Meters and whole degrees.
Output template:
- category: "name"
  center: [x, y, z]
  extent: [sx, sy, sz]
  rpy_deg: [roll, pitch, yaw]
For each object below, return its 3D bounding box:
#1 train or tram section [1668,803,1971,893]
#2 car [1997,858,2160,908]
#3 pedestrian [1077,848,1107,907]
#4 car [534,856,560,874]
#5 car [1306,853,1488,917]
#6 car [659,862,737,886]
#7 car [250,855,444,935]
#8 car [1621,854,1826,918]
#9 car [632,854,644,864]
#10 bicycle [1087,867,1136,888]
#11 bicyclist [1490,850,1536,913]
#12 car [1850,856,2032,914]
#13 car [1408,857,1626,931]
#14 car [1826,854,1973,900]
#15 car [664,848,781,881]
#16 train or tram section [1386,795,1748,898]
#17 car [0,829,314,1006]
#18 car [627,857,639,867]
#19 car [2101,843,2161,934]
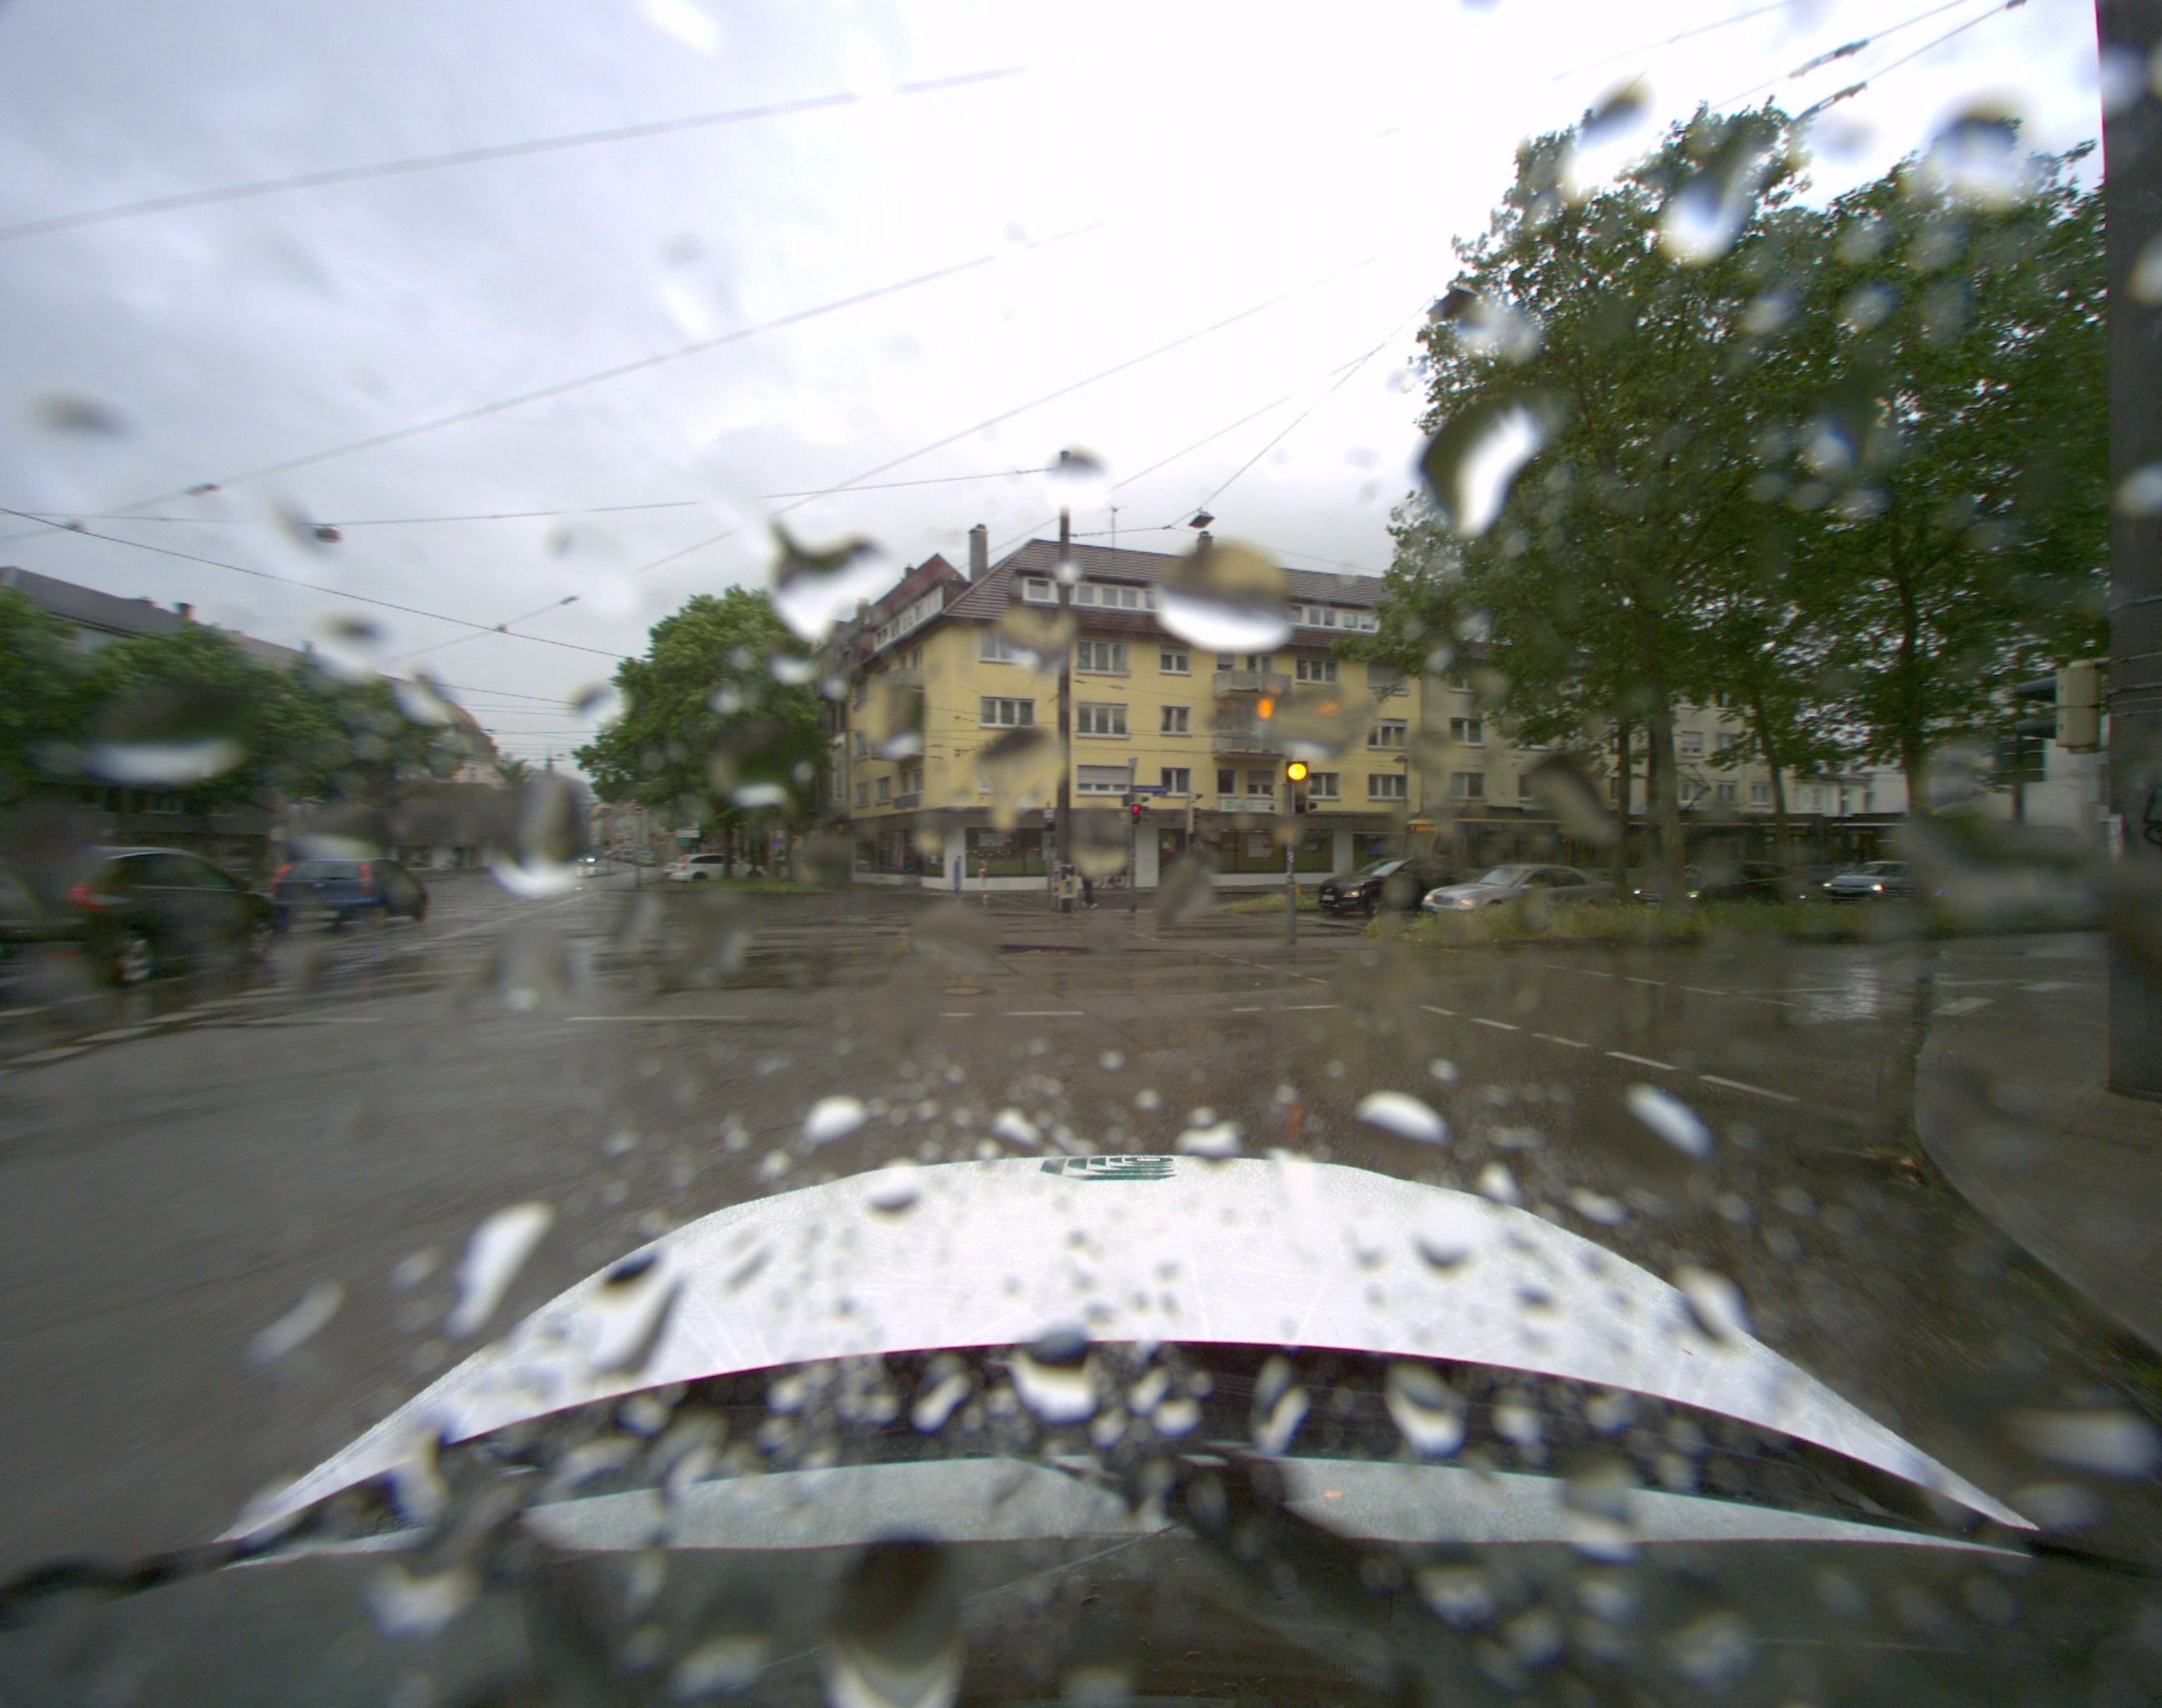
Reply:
- category: "train or tram section"
  center: [32.910, -0.232, 36.118]
  extent: [14.666, 3.558, 3.097]
  rpy_deg: [0, 0, -18]
- category: "car"
  center: [30.879, 0.856, 25.218]
  extent: [4.229, 1.397, 1.737]
  rpy_deg: [0, 0, -17]
- category: "pedestrian"
  center: [0.302, 0.676, 23.848]
  extent: [0.810, 1.677, 1.015]
  rpy_deg: [0, 0, -4]
- category: "car"
  center: [-53.838, 1.154, 82.172]
  extent: [2.006, 1.689, 3.960]
  rpy_deg: [2, -2, -31]
- category: "car"
  center: [8.203, 0.747, 21.161]
  extent: [4.286, 1.501, 1.866]
  rpy_deg: [0, 0, -21]
- category: "car"
  center: [-27.150, 1.403, 57.867]
  extent: [4.576, 1.556, 1.995]
  rpy_deg: [-1, 1, -8]
- category: "car"
  center: [-14.918, 0.845, 16.844]
  extent: [1.891, 1.459, 3.799]
  rpy_deg: [1, -3, -25]
- category: "car"
  center: [16.530, 0.764, 20.994]
  extent: [4.635, 1.485, 1.852]
  rpy_deg: [0, 0, -17]
- category: "car"
  center: [-62.261, 0.749, 114.397]
  extent: [1.484, 1.363, 3.429]
  rpy_deg: [2, -2, -29]
- category: "bicycle"
  center: [1.314, 1.004, 35.500]
  extent: [2.043, 0.897, 0.610]
  rpy_deg: [0, 0, -16]
- category: "bicyclist"
  center: [12.025, 0.770, 22.688]
  extent: [0.890, 1.716, 0.710]
  rpy_deg: [1, -1, -20]
- category: "car"
  center: [24.204, 0.819, 22.950]
  extent: [4.427, 1.480, 1.737]
  rpy_deg: [0, 0, -17]
- category: "car"
  center: [9.892, 0.837, 18.515]
  extent: [4.496, 1.489, 1.730]
  rpy_deg: [0, 0, -17]
- category: "car"
  center: [27.220, 0.724, 27.110]
  extent: [4.125, 1.397, 1.737]
  rpy_deg: [0, 0, -17]
- category: "car"
  center: [-17.803, 0.478, 40.576]
  extent: [5.013, 1.474, 1.977]
  rpy_deg: [-1, 1, -38]
- category: "train or tram section"
  center: [19.084, -0.254, 31.792]
  extent: [14.560, 3.558, 3.099]
  rpy_deg: [0, 0, -16]
- category: "car"
  center: [-11.346, 0.604, 9.711]
  extent: [1.809, 1.709, 4.159]
  rpy_deg: [1, 0, -23]
- category: "car"
  center: [-65.759, 1.173, 119.466]
  extent: [1.484, 1.363, 3.429]
  rpy_deg: [2, -2, -29]
- category: "car"
  center: [23.368, 0.722, 16.632]
  extent: [4.112, 1.797, 1.898]
  rpy_deg: [1, 0, -19]
